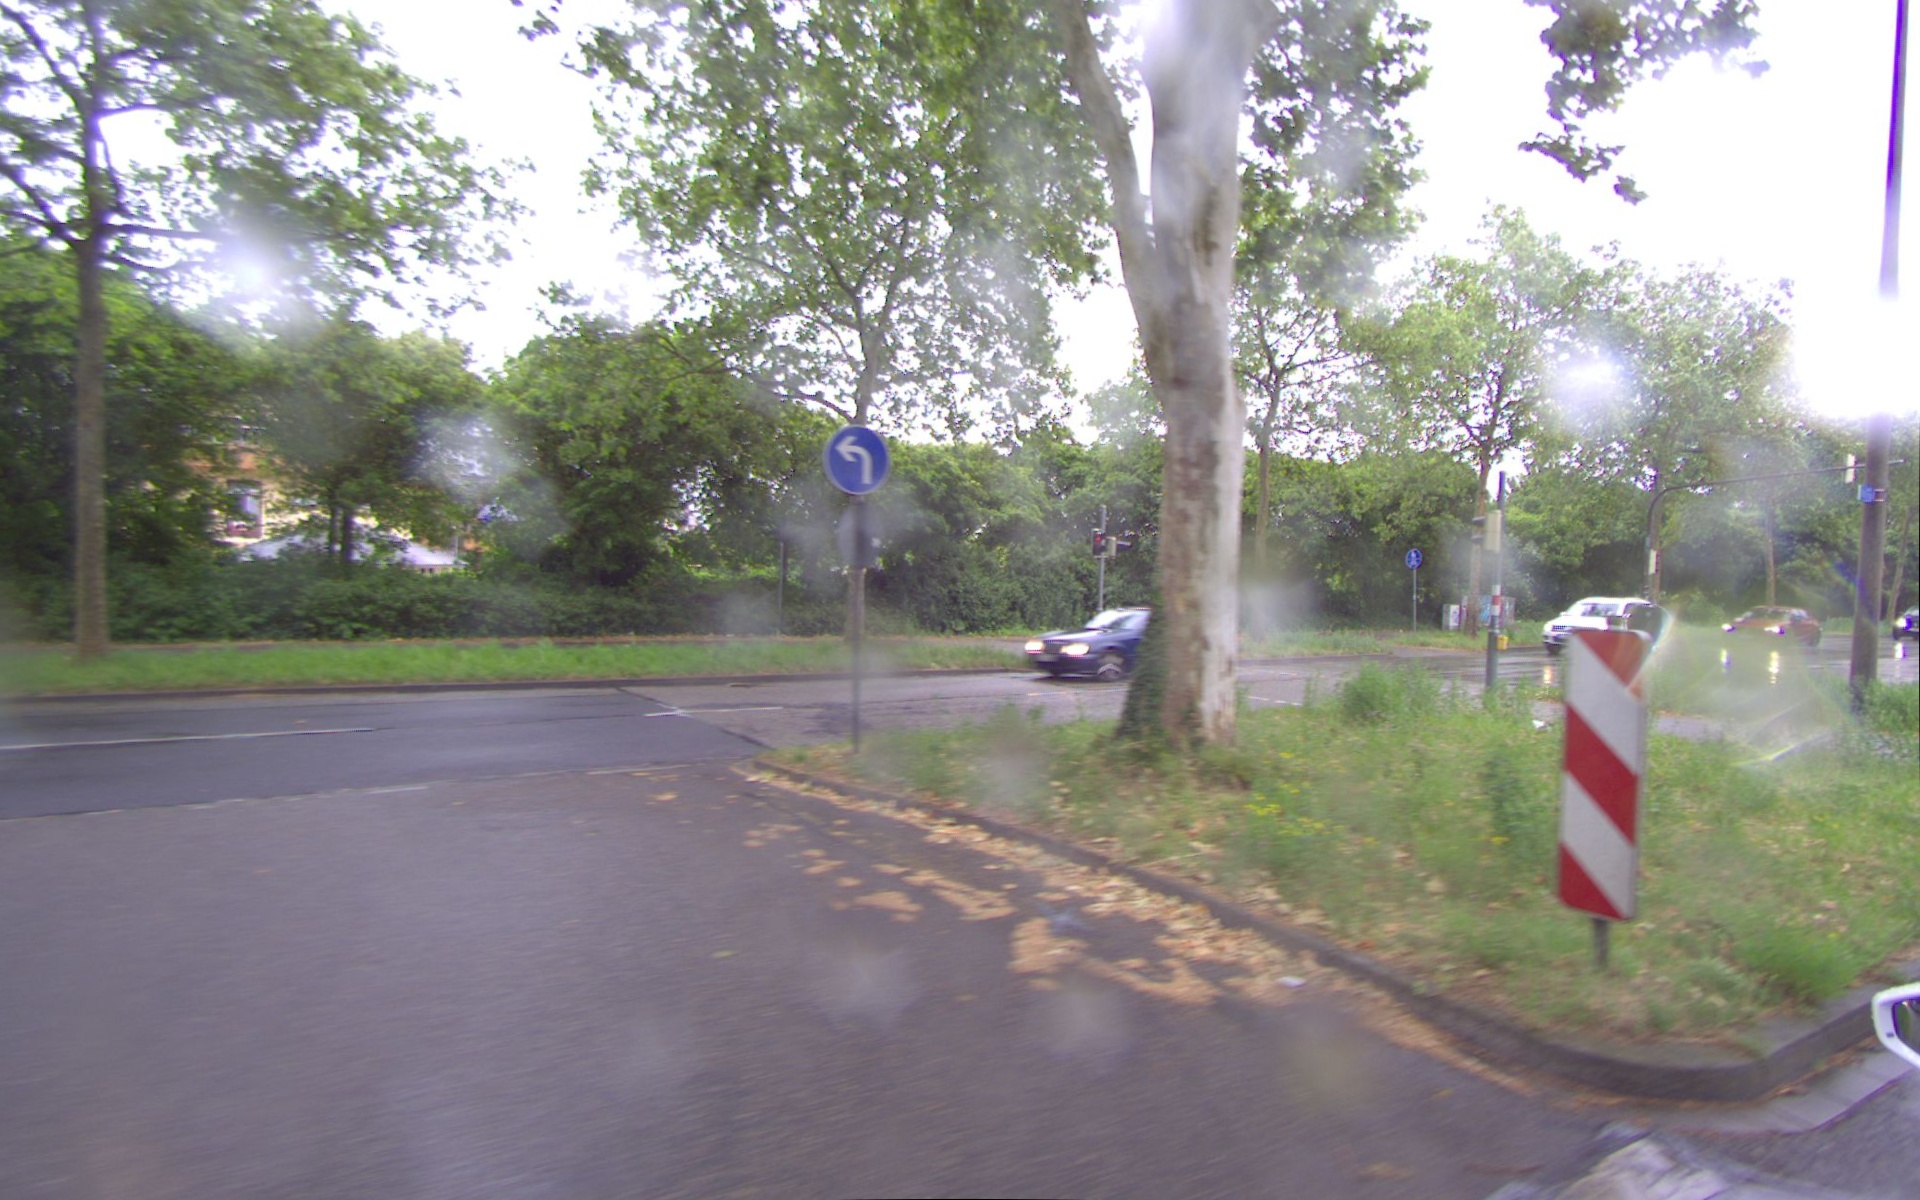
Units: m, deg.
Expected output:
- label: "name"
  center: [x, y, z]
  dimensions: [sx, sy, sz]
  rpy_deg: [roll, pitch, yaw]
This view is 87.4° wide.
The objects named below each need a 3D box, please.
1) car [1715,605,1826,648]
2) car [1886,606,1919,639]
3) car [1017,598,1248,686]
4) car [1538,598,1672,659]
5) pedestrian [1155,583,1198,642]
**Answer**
- label: "car"
  center: [29.264, 0.952, 36.241]
  dimensions: [4.395, 1.427, 1.734]
  rpy_deg: [1, 1, -32]
- label: "car"
  center: [42.147, 0.992, 43.965]
  dimensions: [3.297, 1.391, 1.578]
  rpy_deg: [1, 1, -32]
- label: "car"
  center: [3.386, 0.729, 19.414]
  dimensions: [4.396, 1.458, 1.733]
  rpy_deg: [-1, 2, -33]
- label: "car"
  center: [19.334, 0.843, 30.069]
  dimensions: [4.397, 1.653, 1.733]
  rpy_deg: [1, 1, -34]
- label: "pedestrian"
  center: [6.414, 0.372, 29.819]
  dimensions: [0.890, 1.696, 0.826]
  rpy_deg: [1, 1, -32]
